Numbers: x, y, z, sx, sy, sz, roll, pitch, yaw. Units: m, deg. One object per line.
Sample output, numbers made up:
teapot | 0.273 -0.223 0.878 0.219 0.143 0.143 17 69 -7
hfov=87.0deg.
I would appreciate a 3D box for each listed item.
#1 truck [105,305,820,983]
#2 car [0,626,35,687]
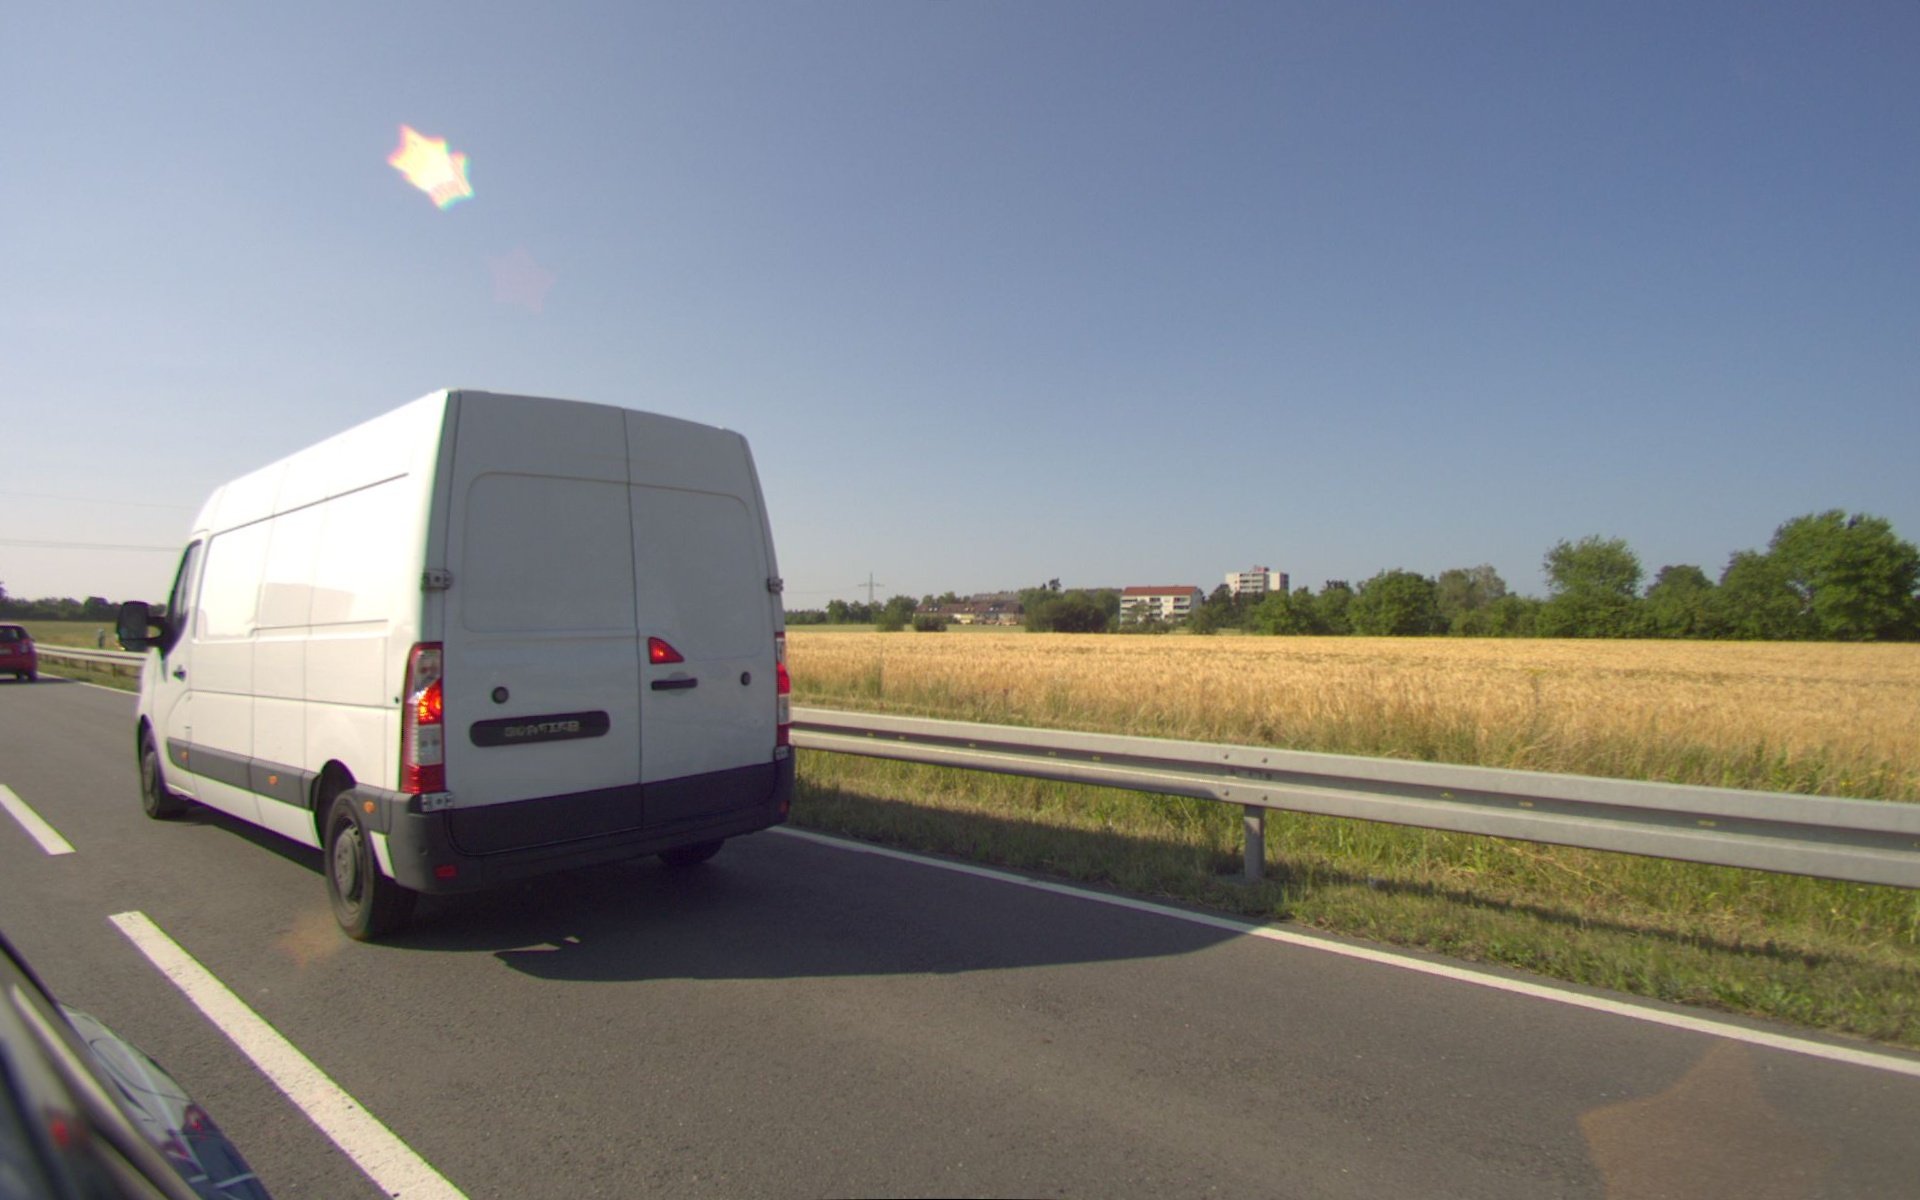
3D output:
truck | -3.712 0.222 6.611 6.241 2.539 1.972 -1 -2 42
car | -25.094 1.435 25.999 3.778 1.499 1.590 -2 -1 42
